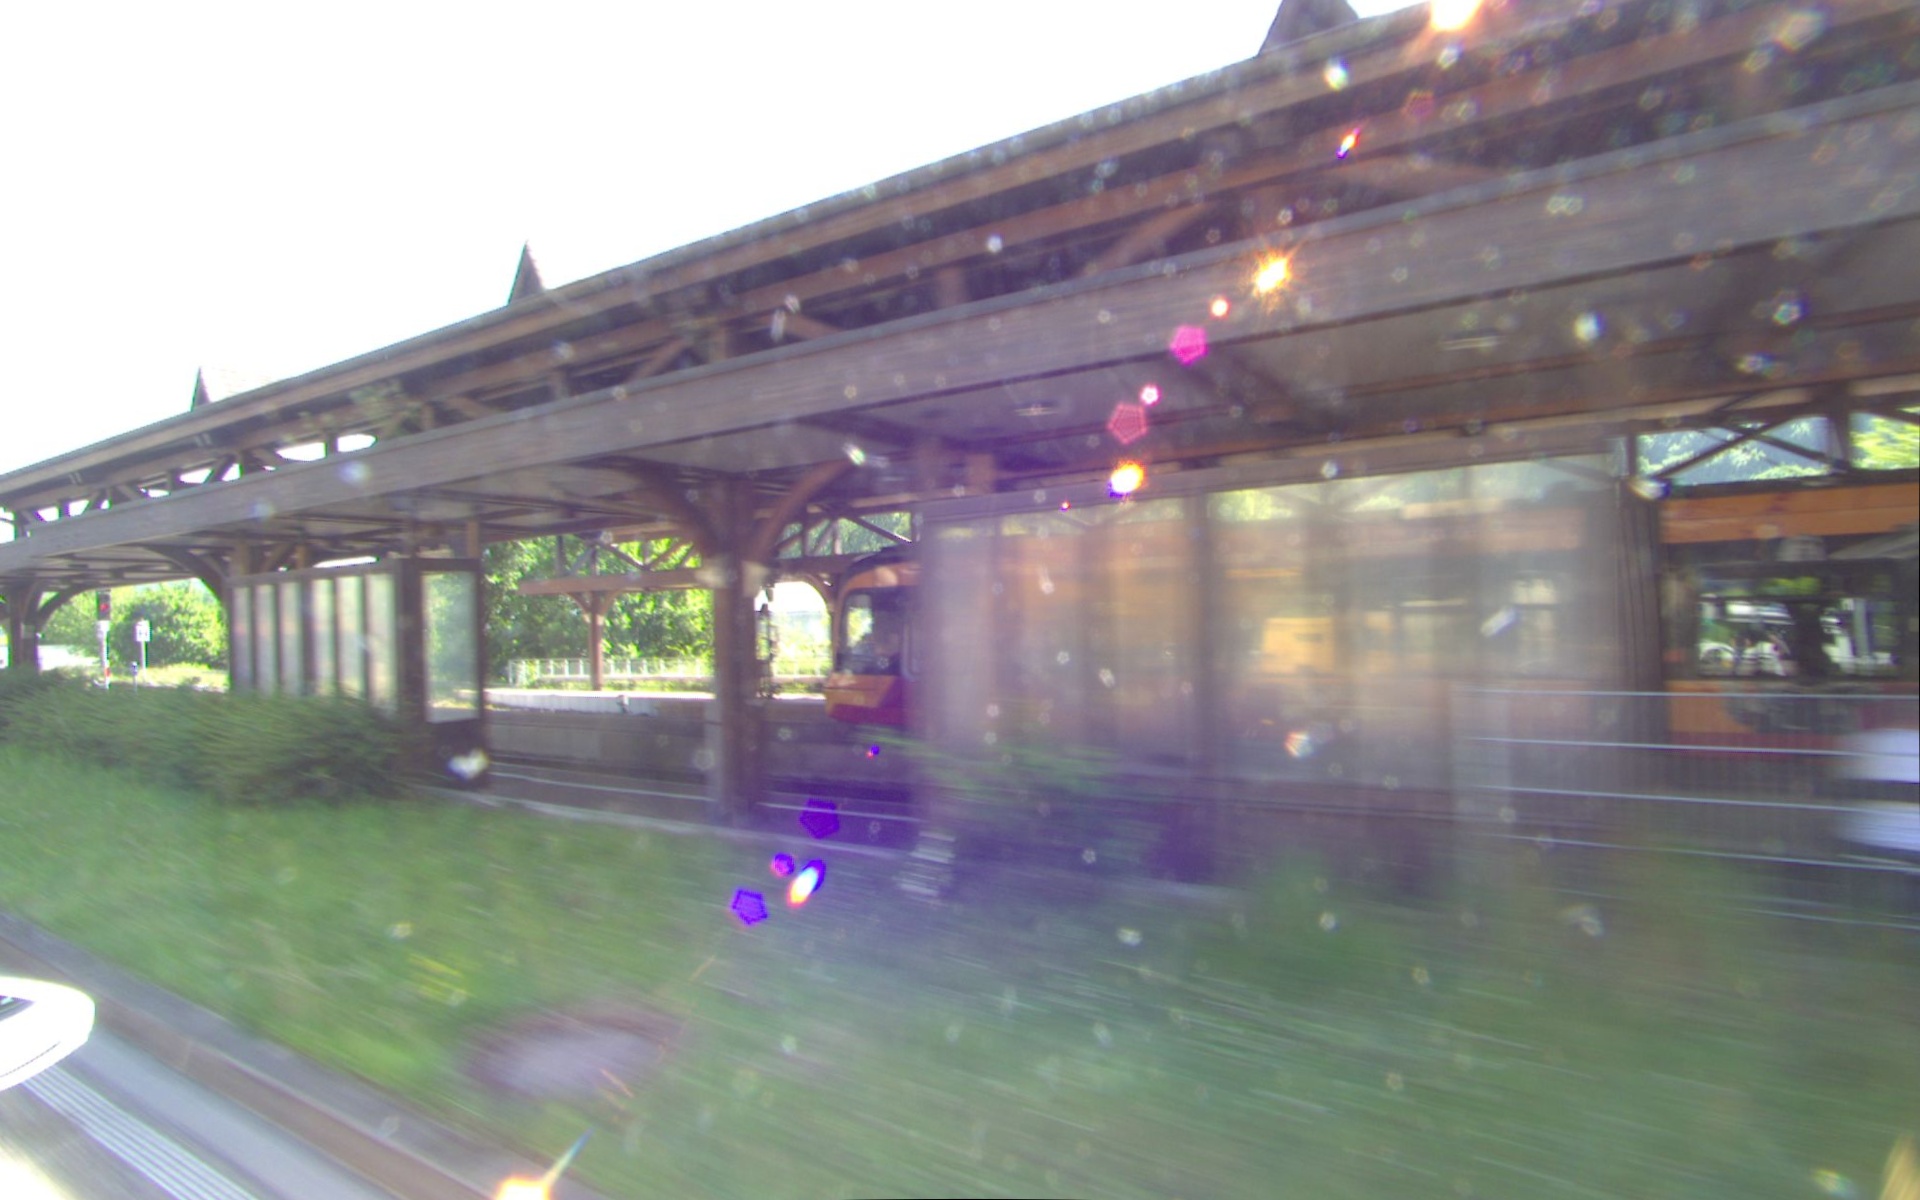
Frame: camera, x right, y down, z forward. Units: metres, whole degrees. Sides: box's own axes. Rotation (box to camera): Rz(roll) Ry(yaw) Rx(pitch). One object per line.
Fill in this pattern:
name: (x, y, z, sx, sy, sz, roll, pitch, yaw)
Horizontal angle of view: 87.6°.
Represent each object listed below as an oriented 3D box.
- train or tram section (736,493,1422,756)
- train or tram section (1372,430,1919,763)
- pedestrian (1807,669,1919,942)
train or tram section: (1.369, 0.445, 17.405, 11.879, 3.406, 2.751, -1, -2, 33)
train or tram section: (11.113, 0.000, 11.020, 11.878, 3.406, 2.782, -2, -3, 33)
pedestrian: (4.337, 0.896, 4.510, 0.657, 1.130, 0.742, 1, -2, 29)
